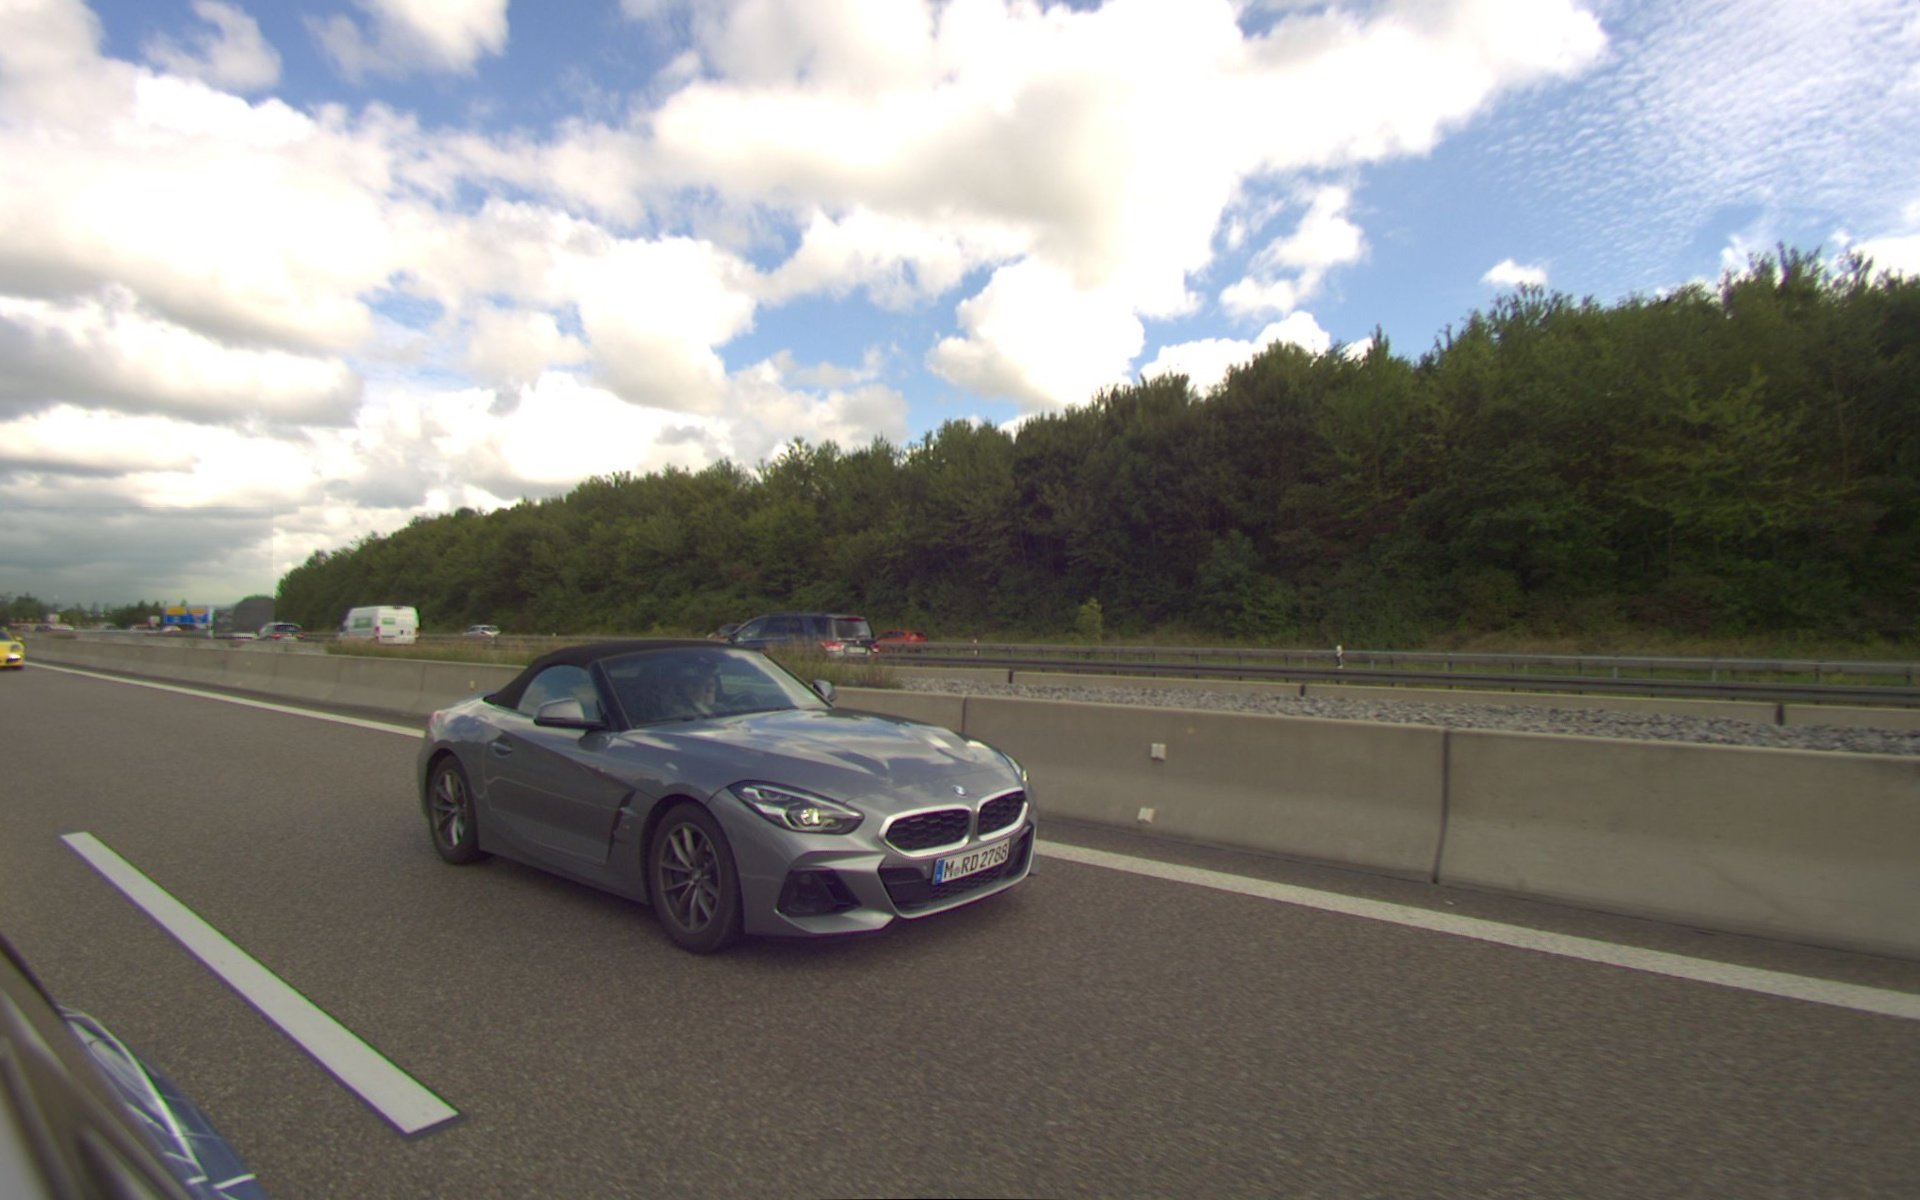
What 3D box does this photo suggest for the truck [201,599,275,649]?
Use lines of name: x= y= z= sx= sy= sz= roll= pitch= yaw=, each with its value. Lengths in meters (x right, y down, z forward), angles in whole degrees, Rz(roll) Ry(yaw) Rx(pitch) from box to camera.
truck: x=-50.036 y=1.694 z=70.076 sx=7.820 sy=3.288 sz=2.329 roll=-1 pitch=-2 yaw=41

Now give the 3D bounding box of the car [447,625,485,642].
car: x=-45.194 y=3.063 z=92.514 sx=4.177 sy=1.506 sz=1.575 roll=-2 pitch=-2 yaw=40

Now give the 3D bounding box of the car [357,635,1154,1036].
car: x=-1.534 y=0.884 z=5.791 sx=4.939 sy=1.312 sz=1.854 roll=-2 pitch=-1 yaw=41

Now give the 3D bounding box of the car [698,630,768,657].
car: x=-12.194 y=2.324 z=54.294 sx=4.049 sy=1.375 sz=1.547 roll=-1 pitch=-2 yaw=40

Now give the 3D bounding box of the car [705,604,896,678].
car: x=-3.818 y=0.926 z=23.701 sx=4.778 sy=1.573 sz=1.756 roll=-1 pitch=-2 yaw=41

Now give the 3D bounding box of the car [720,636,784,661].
car: x=-12.177 y=2.813 z=59.212 sx=4.049 sy=1.375 sz=1.547 roll=-1 pitch=-2 yaw=40

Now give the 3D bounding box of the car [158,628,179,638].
car: x=-120.069 y=4.957 z=153.457 sx=4.320 sy=1.455 sz=1.641 roll=-2 pitch=-2 yaw=40

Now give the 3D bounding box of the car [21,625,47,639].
car: x=-117.829 y=4.096 z=128.779 sx=5.499 sy=1.799 sz=1.815 roll=-2 pitch=-2 yaw=40

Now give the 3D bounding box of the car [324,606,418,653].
car: x=-30.417 y=1.511 z=52.147 sx=6.456 sy=2.288 sz=2.142 roll=-1 pitch=-2 yaw=40

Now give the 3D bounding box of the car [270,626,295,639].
car: x=-89.861 y=4.326 z=134.161 sx=4.279 sy=1.771 sz=1.575 roll=-2 pitch=-2 yaw=40

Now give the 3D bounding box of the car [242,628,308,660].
car: x=-34.662 y=2.188 z=51.176 sx=4.049 sy=1.522 sz=1.719 roll=-1 pitch=-2 yaw=40

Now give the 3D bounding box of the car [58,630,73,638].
car: x=-176.083 y=6.718 z=199.201 sx=4.368 sy=1.529 sz=1.658 roll=-2 pitch=-2 yaw=43

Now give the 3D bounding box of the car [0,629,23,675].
car: x=-29.922 y=1.543 z=30.630 sx=4.245 sy=1.325 sz=1.788 roll=-2 pitch=-3 yaw=41

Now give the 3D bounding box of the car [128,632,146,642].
car: x=-135.623 y=6.091 z=166.799 sx=3.997 sy=1.660 sz=1.641 roll=-2 pitch=-2 yaw=40

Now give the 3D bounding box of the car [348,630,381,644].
car: x=-64.121 y=3.947 z=108.948 sx=4.506 sy=1.506 sz=1.575 roll=-2 pitch=-2 yaw=40

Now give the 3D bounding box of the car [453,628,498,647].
car: x=-36.324 y=2.799 z=75.850 sx=4.049 sy=1.375 sz=1.547 roll=-1 pitch=-2 yaw=40
